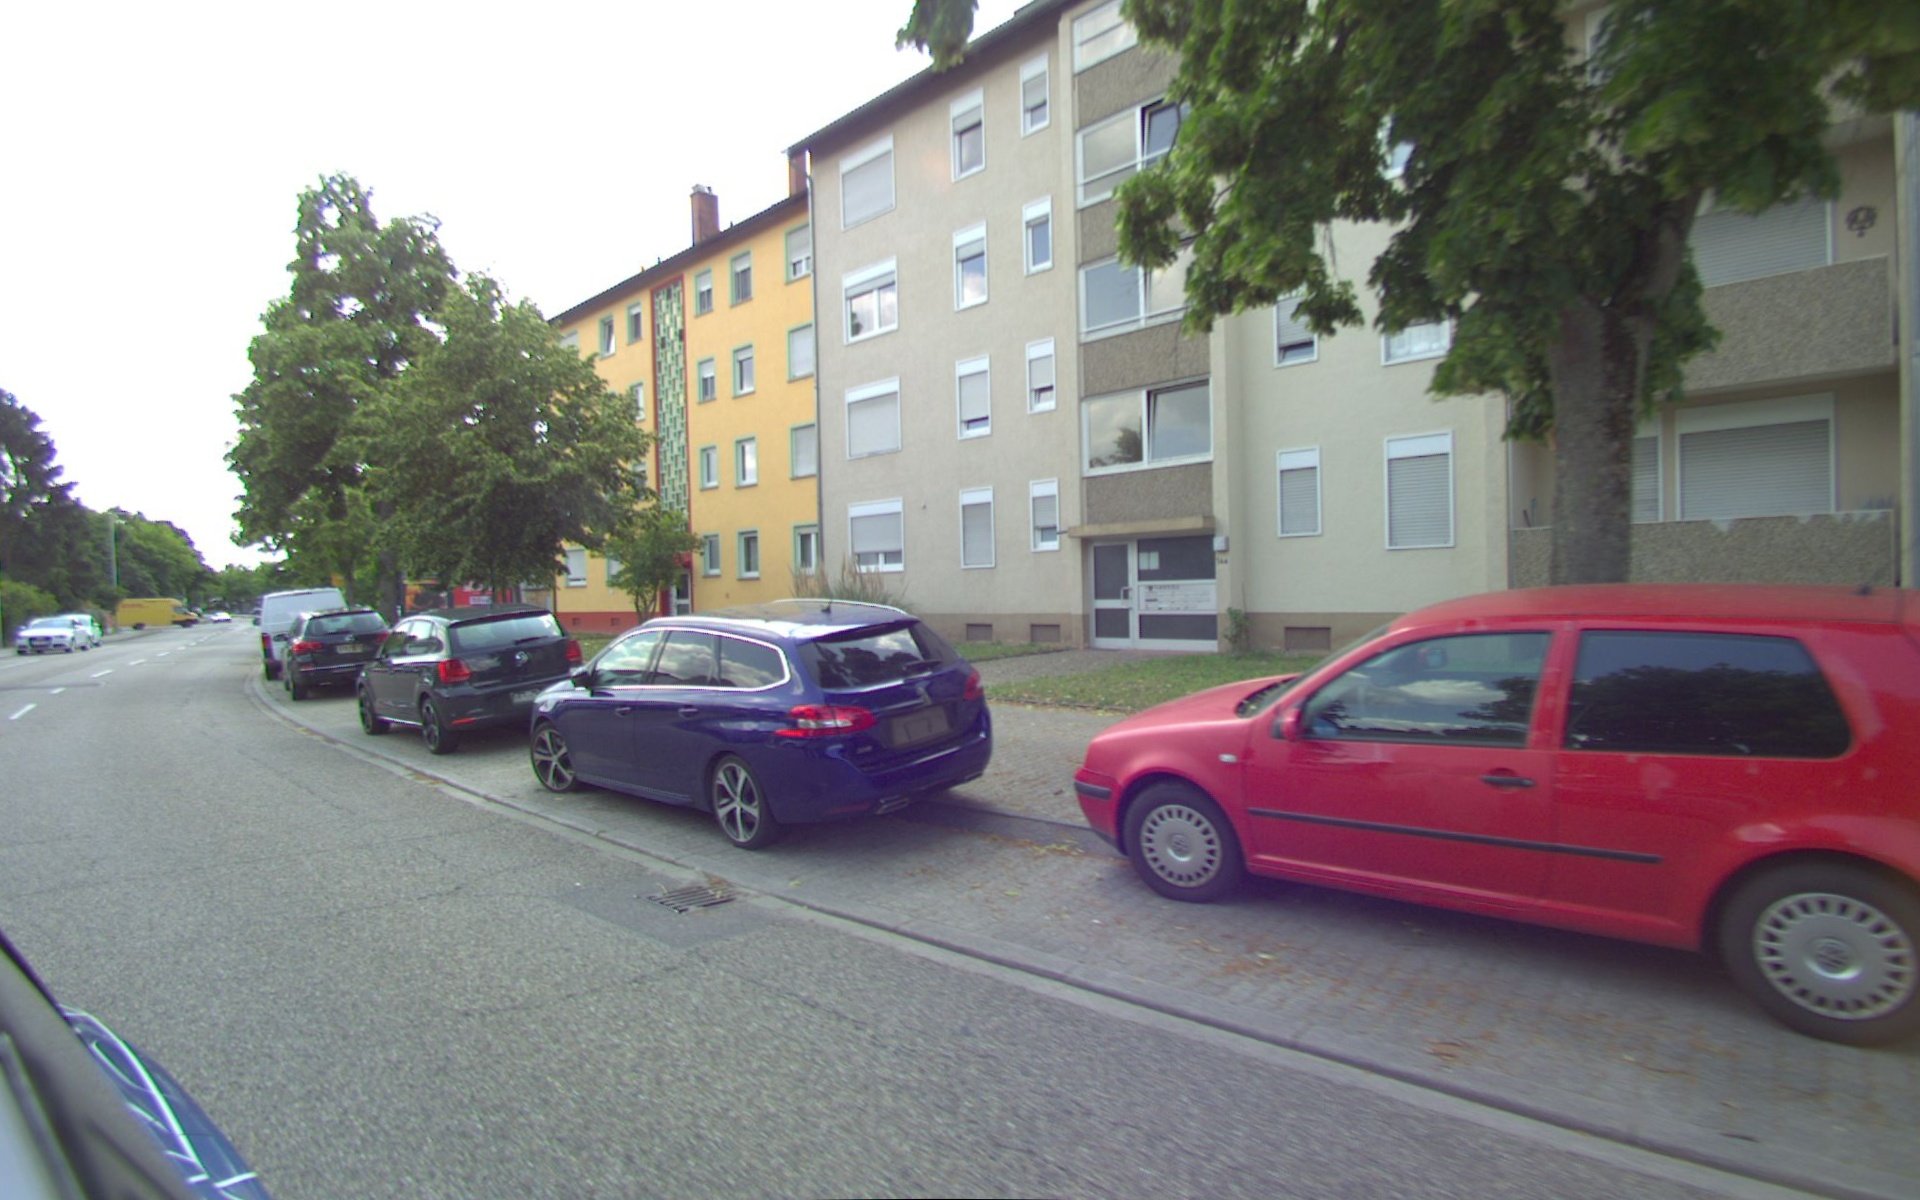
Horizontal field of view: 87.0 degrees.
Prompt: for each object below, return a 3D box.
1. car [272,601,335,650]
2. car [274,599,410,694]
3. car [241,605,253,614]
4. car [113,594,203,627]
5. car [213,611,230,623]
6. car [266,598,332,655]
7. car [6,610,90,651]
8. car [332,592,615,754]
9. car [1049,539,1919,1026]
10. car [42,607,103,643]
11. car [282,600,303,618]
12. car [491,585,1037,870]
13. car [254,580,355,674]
[{"bbox_3d":[-23.668,0.873,36.588,1.661,1.497,3.996,-5,3,-31],"label":"car"},{"bbox_3d":[-11.484,0.782,18.674,1.737,1.500,4.515,-2,0,-36],"label":"car"},{"bbox_3d":[-120.913,1.604,171.625,1.702,1.439,4.010,0,1,-35],"label":"car"},{"bbox_3d":[-76.845,0.957,97.046,2.497,2.891,6.428,-1,1,43],"label":"car"},{"bbox_3d":[-93.695,2.116,128.366,1.702,1.439,4.010,0,1,-35],"label":"car"},{"bbox_3d":[-20.954,0.830,32.069,1.498,1.560,3.765,-7,3,-34],"label":"car"},{"bbox_3d":[-36.162,1.167,40.206,1.697,1.497,3.760,-1,0,-30],"label":"car"},{"bbox_3d":[-5.827,0.742,11.877,1.740,1.500,4.035,-4,1,-44],"label":"car"},{"bbox_3d":[2.589,0.537,4.619,4.093,1.449,1.816,-1,2,45],"label":"car"},{"bbox_3d":[-40.710,1.118,46.477,1.560,1.531,3.766,-1,0,-33],"label":"car"},{"bbox_3d":[-58.864,0.820,89.288,1.533,1.528,3.619,-1,0,-33],"label":"car"},{"bbox_3d":[-1.747,0.692,7.744,4.571,1.500,1.741,0,2,44],"label":"car"},{"bbox_3d":[-15.819,0.612,24.525,1.854,2.025,5.337,-1,-1,-32],"label":"car"}]
